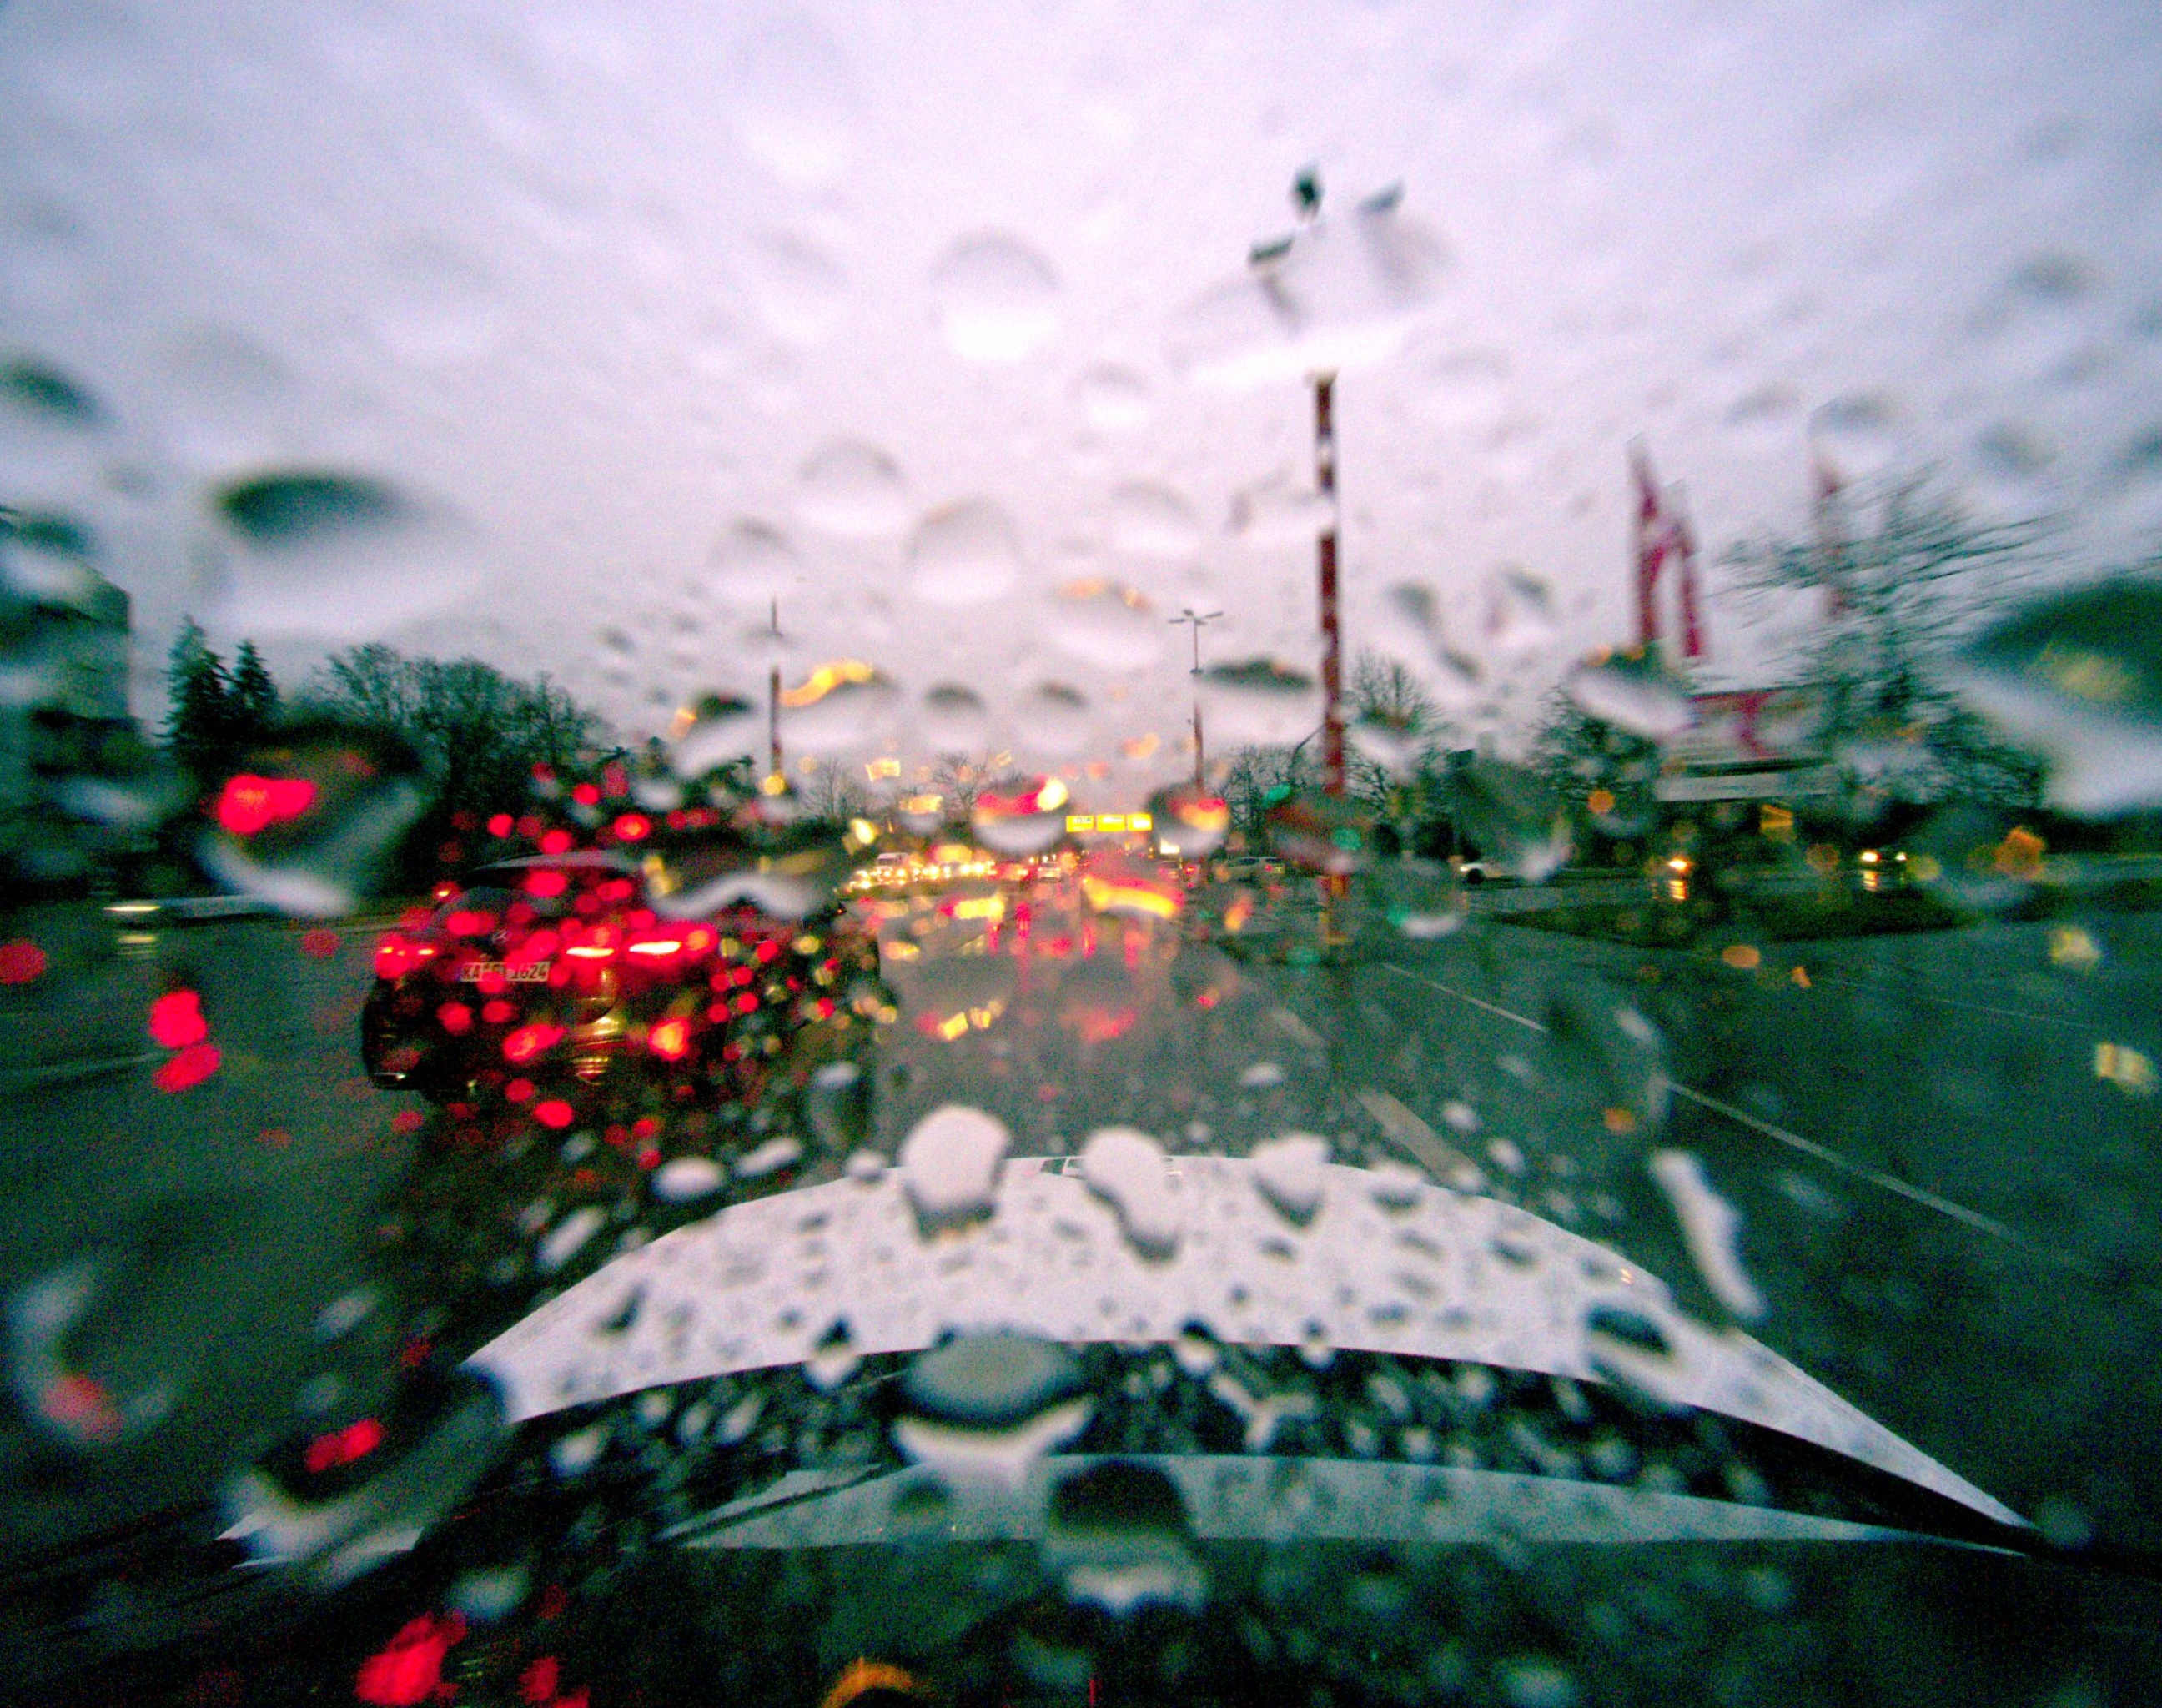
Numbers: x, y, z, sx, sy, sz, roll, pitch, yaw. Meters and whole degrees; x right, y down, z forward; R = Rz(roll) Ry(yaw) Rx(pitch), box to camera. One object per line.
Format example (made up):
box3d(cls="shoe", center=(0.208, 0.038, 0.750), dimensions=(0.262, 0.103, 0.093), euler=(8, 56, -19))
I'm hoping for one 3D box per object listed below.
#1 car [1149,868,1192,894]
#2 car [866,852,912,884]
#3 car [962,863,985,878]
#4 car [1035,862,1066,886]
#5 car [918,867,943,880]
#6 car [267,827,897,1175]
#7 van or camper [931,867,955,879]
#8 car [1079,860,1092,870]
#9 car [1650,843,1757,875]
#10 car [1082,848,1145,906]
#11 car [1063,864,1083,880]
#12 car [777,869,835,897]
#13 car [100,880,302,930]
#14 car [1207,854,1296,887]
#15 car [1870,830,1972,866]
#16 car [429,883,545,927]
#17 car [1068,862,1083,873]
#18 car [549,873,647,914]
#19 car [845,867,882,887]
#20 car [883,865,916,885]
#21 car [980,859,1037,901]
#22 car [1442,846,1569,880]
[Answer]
box3d(cls="car", center=(5.754, 1.710, 52.921), dimensions=(1.930, 1.648, 4.458), euler=(0, -1, -5))
box3d(cls="car", center=(-18.639, 1.353, 79.558), dimensions=(2.282, 3.005, 7.353), euler=(0, -1, 4))
box3d(cls="car", center=(-11.879, 1.851, 90.095), dimensions=(1.763, 1.536, 4.842), euler=(-1, 0, 2))
box3d(cls="car", center=(-2.121, 1.412, 58.357), dimensions=(1.815, 1.648, 4.003), euler=(-1, -1, 3))
box3d(cls="car", center=(-17.634, 2.294, 95.517), dimensions=(1.896, 1.446, 4.445), euler=(-1, -1, 2))
box3d(cls="car", center=(-2.929, 0.737, 6.162), dimensions=(1.815, 1.648, 4.470), euler=(-1, -1, 3))
box3d(cls="van or camper", center=(-17.391, 2.379, 102.805), dimensions=(1.896, 1.446, 5.161), euler=(-1, -1, 2))
box3d(cls="car", center=(0.791, 1.863, 137.430), dimensions=(1.985, 1.577, 4.003), euler=(0, -1, 3))
box3d(cls="car", center=(27.990, 0.216, 36.656), dimensions=(3.991, 1.309, 1.630), euler=(-1, -1, -13))
box3d(cls="car", center=(1.068, 0.688, 26.039), dimensions=(1.815, 1.648, 4.470), euler=(-2, 0, 3))
box3d(cls="car", center=(-0.697, 1.637, 74.967), dimensions=(1.499, 1.339, 4.003), euler=(-1, -1, 3))
box3d(cls="car", center=(-16.465, 1.699, 48.958), dimensions=(1.763, 1.533, 4.527), euler=(-1, 0, 2))
box3d(cls="car", center=(-32.076, 1.810, 29.867), dimensions=(1.975, 1.530, 4.624), euler=(-2, -1, 24))
box3d(cls="car", center=(8.953, 0.881, 43.070), dimensions=(1.831, 1.618, 4.358), euler=(-1, -1, -41))
box3d(cls="car", center=(41.372, -0.271, 40.126), dimensions=(3.879, 1.635, 1.651), euler=(-1, -1, -12))
box3d(cls="car", center=(-23.955, 2.007, 33.032), dimensions=(1.612, 1.495, 4.019), euler=(-1, 0, 2))
box3d(cls="car", center=(-0.716, 1.769, 108.157), dimensions=(1.815, 1.504, 4.003), euler=(-1, -1, 3))
box3d(cls="car", center=(-20.741, 1.656, 35.191), dimensions=(1.763, 1.553, 3.948), euler=(-1, 0, 1))
box3d(cls="car", center=(-18.762, 1.964, 70.528), dimensions=(1.762, 1.536, 4.450), euler=(-1, 0, 3))
box3d(cls="car", center=(-15.433, 1.755, 69.547), dimensions=(1.763, 1.586, 4.035), euler=(-1, 0, 2))
box3d(cls="car", center=(-2.993, 1.051, 34.537), dimensions=(1.815, 1.648, 4.003), euler=(-1, -1, 3))
box3d(cls="car", center=(18.909, 0.398, 36.476), dimensions=(4.709, 1.376, 1.888), euler=(-1, -1, 11))
